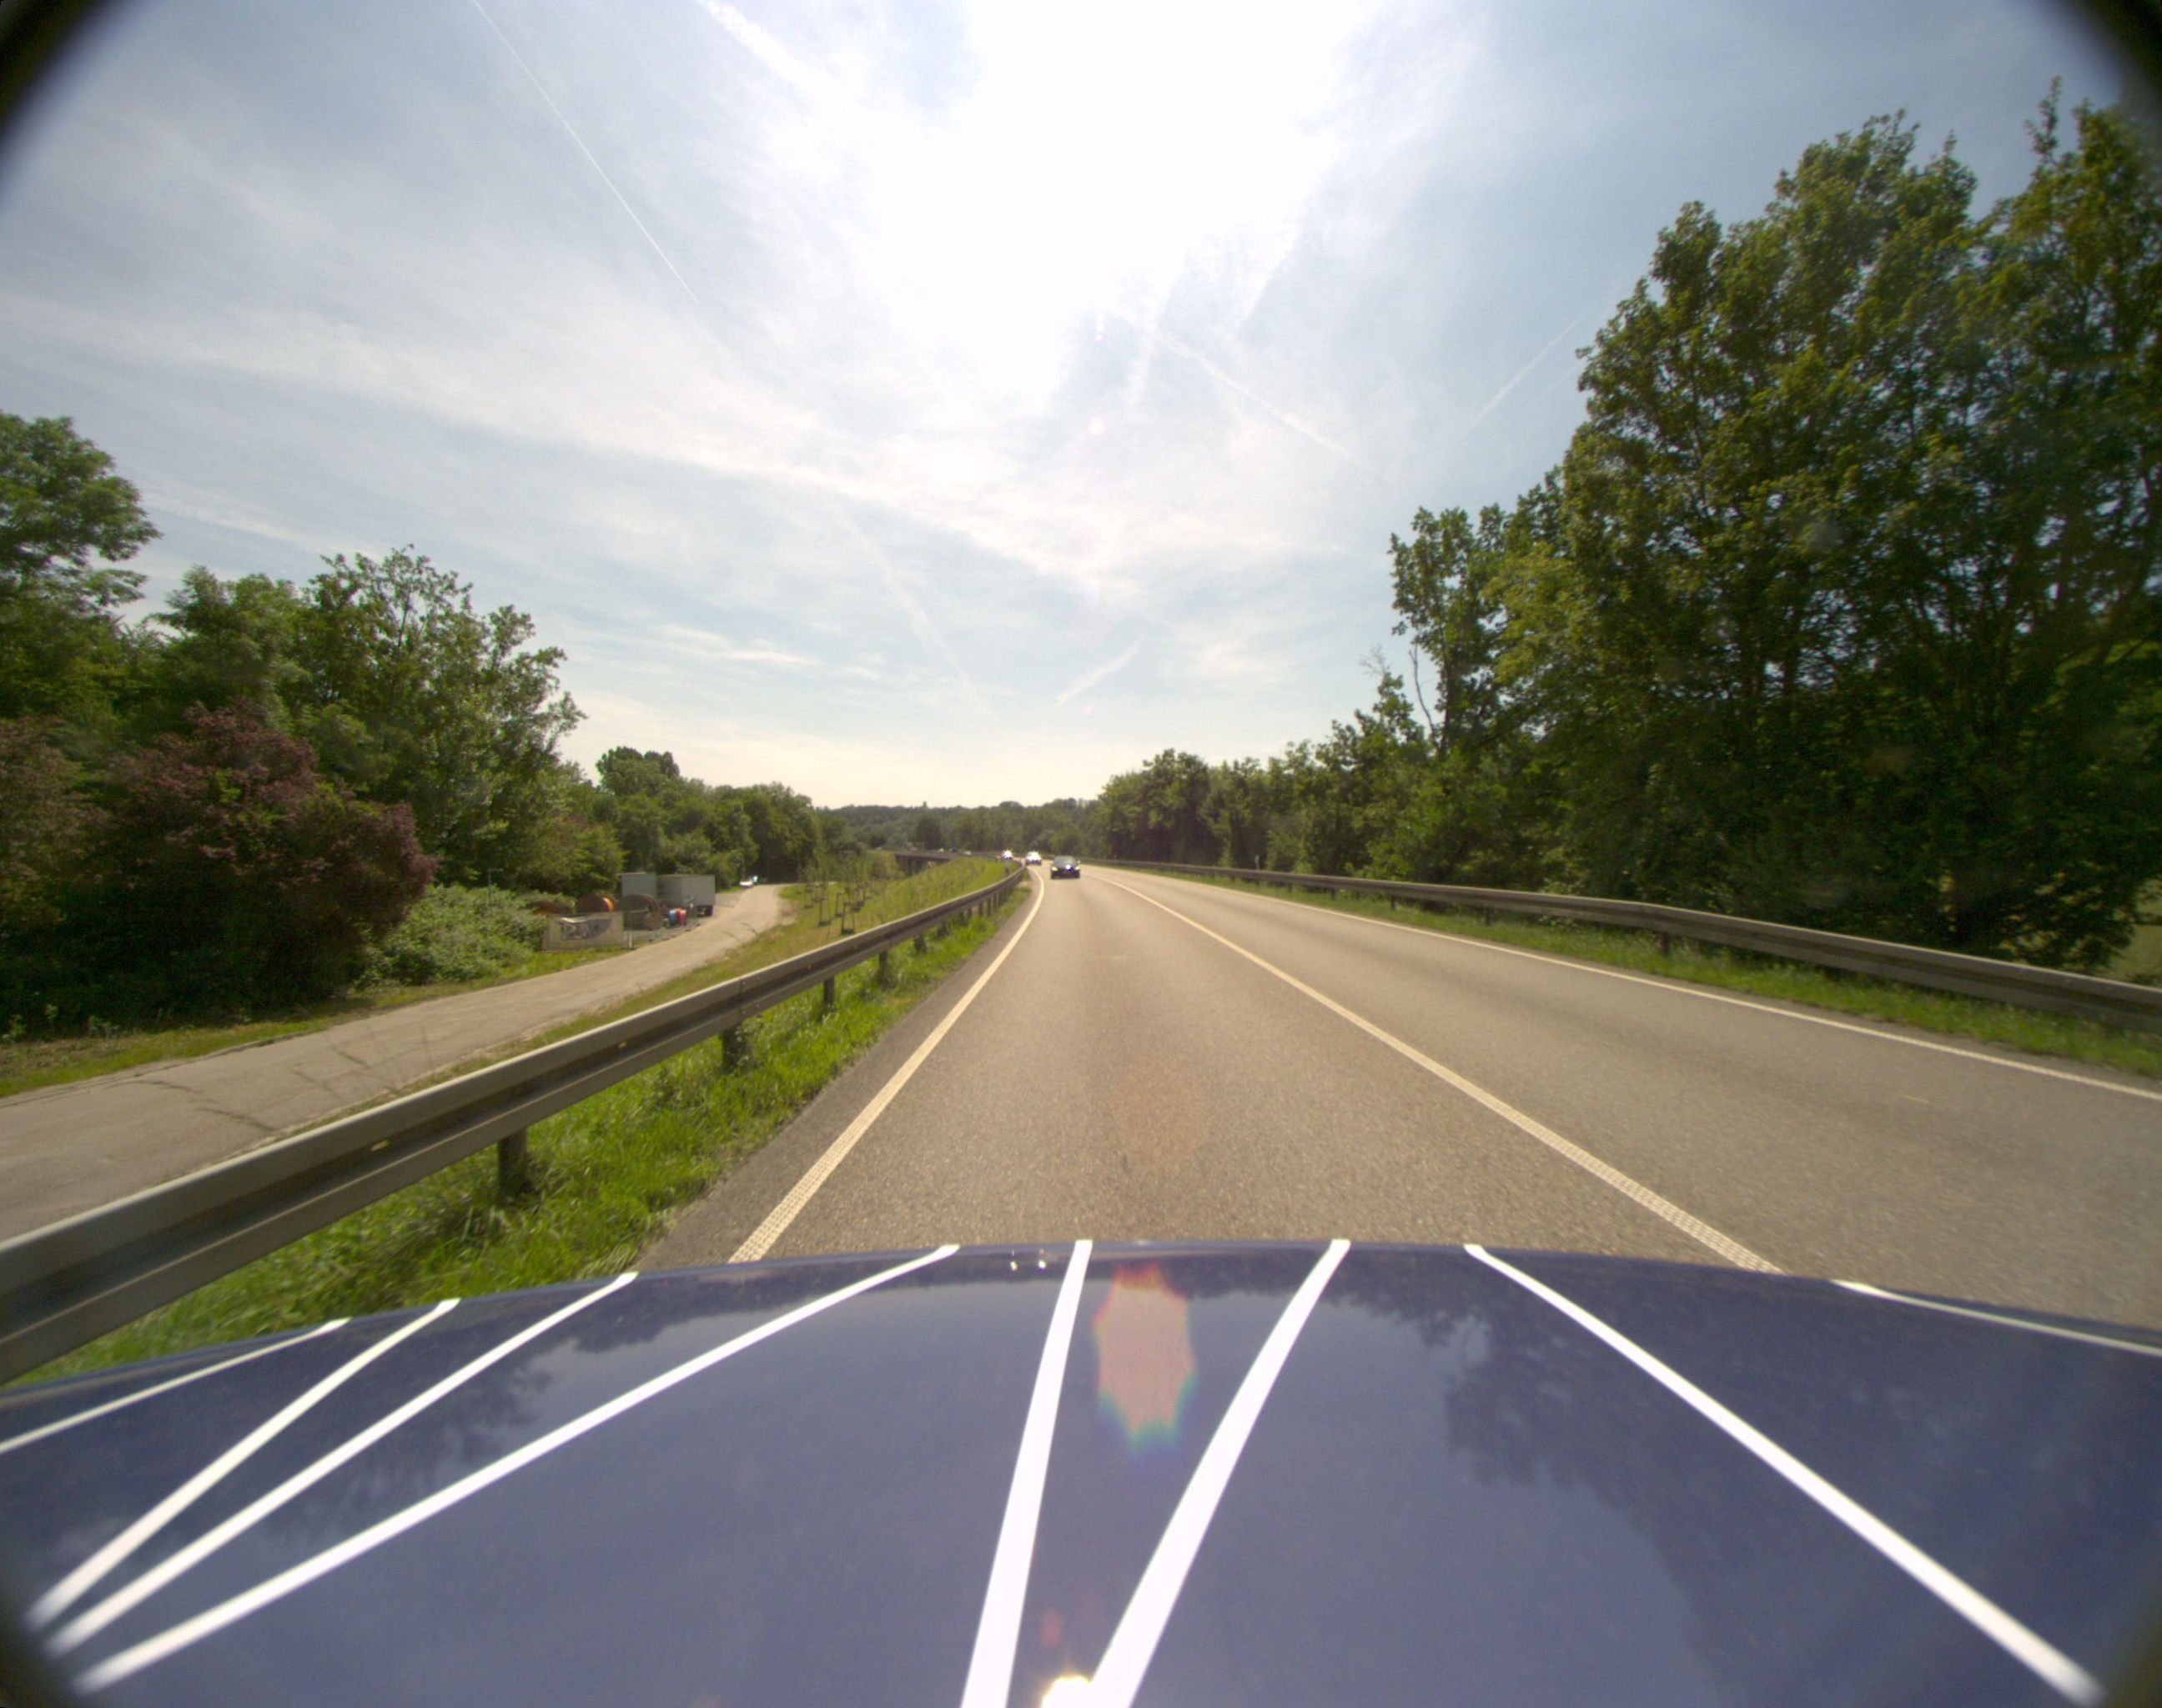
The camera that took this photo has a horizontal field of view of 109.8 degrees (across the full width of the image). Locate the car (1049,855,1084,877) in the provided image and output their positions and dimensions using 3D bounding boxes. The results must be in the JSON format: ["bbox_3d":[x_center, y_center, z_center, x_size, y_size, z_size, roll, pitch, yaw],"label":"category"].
[{"bbox_3d":[-0.971,0.734,48.844,1.981,1.333,3.998,-1,0,-5],"label":"car"}]

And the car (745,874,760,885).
[{"bbox_3d":[-52.698,4.091,121.873,1.865,1.474,4.600,2,-1,-19],"label":"car"}]

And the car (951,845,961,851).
[{"bbox_3d":[-38.307,-1.858,232.920,1.930,1.849,5.165,-2,1,-23],"label":"car"}]

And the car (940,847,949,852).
[{"bbox_3d":[-45.065,-1.598,250.146,1.776,1.485,4.160,-2,2,-27],"label":"car"}]

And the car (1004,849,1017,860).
[{"bbox_3d":[-12.693,0.109,135.989,1.982,1.723,3.995,-1,2,-9],"label":"car"}]

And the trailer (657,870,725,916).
[{"bbox_3d":[-32.879,3.126,63.690,2.732,3.309,11.862,-2,1,-38],"label":"trailer"}]

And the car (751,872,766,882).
[{"bbox_3d":[-56.228,3.992,132.582,1.865,1.672,4.193,2,-1,-16],"label":"car"}]

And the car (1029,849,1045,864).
[{"bbox_3d":[-5.690,0.292,98.115,1.981,1.779,3.998,-1,0,-4],"label":"car"}]

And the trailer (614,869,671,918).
[{"bbox_3d":[-37.544,3.148,64.773,2.732,3.586,11.863,-3,1,-36],"label":"trailer"}]
